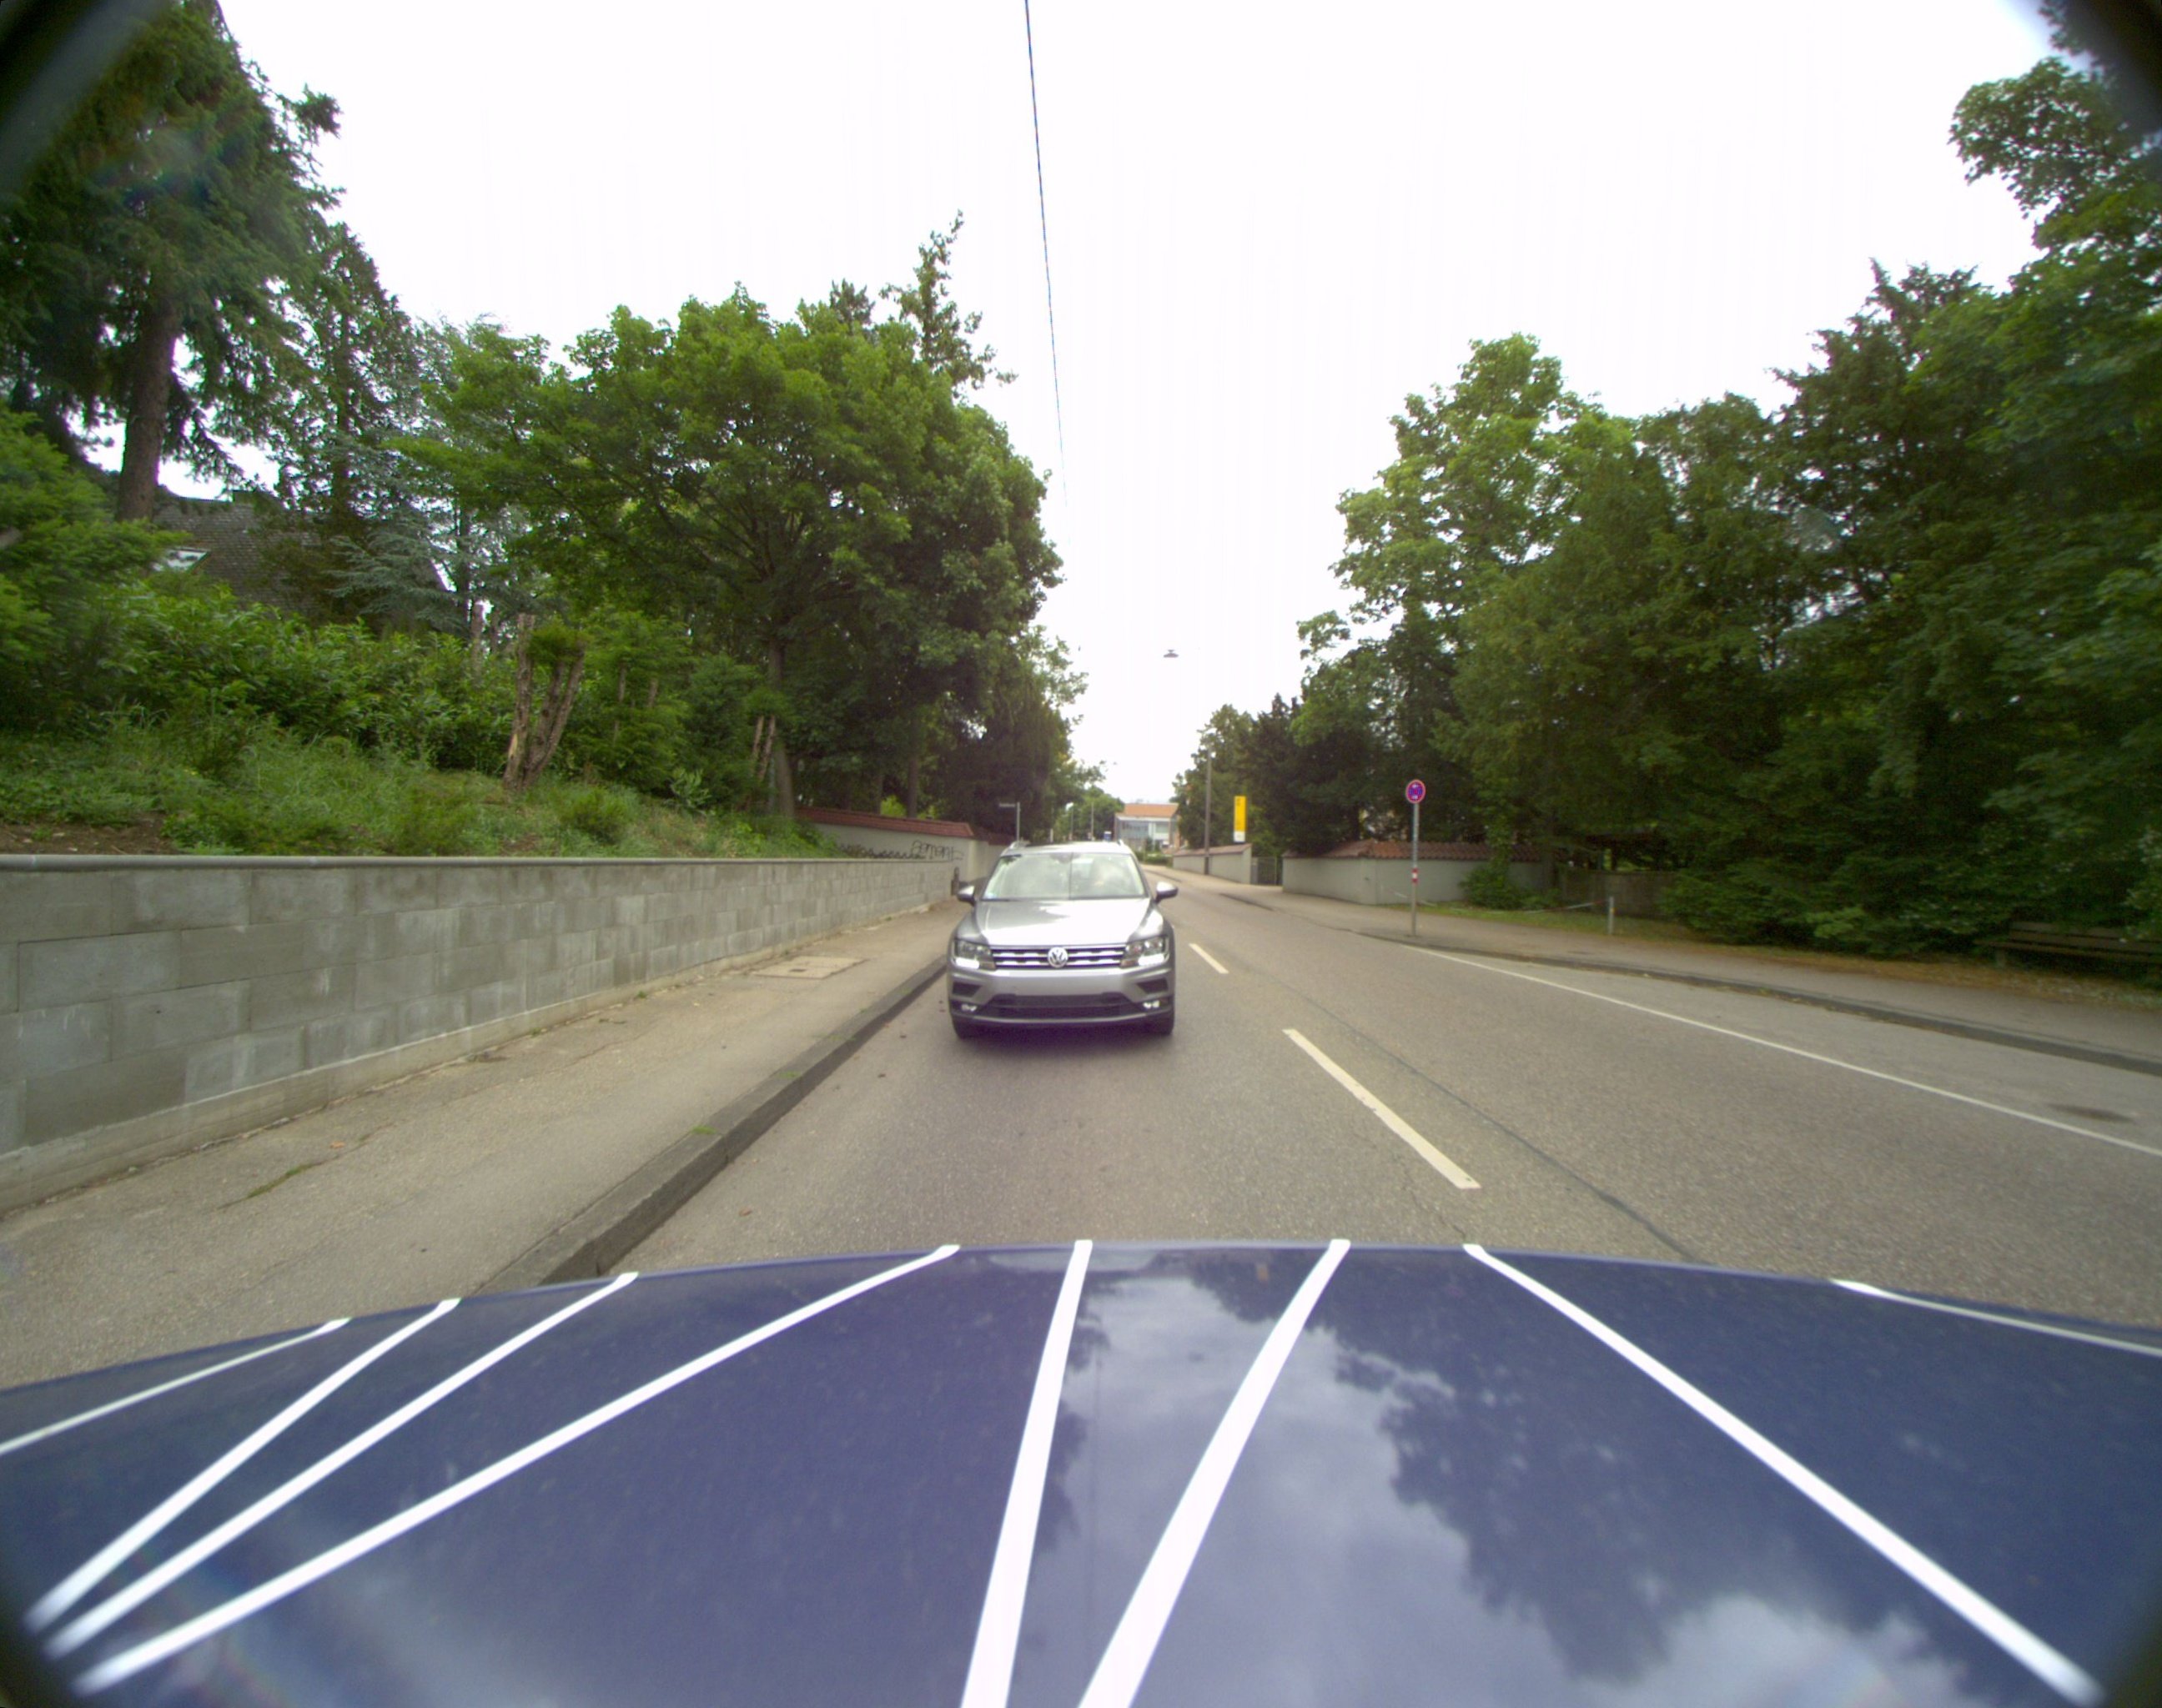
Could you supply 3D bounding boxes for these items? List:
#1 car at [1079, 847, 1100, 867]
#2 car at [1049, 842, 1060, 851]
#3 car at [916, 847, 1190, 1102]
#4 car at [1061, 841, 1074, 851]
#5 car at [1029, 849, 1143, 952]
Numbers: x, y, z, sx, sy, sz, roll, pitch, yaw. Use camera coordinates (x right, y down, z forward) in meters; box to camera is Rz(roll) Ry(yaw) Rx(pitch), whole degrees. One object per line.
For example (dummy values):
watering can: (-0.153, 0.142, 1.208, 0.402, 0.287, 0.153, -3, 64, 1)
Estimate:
car: (0.752, 0.249, 67.455, 1.820, 1.733, 4.487, 0, 1, 0)
car: (-5.248, -1.484, 151.384, 1.878, 1.647, 4.252, 0, 1, -8)
car: (-0.175, 0.805, 7.514, 1.820, 1.690, 4.718, -1, 0, 0)
car: (-2.423, -1.391, 133.781, 1.878, 1.647, 4.252, 0, 1, -7)
car: (0.091, 0.731, 14.458, 1.820, 1.647, 4.487, 0, 1, 0)
